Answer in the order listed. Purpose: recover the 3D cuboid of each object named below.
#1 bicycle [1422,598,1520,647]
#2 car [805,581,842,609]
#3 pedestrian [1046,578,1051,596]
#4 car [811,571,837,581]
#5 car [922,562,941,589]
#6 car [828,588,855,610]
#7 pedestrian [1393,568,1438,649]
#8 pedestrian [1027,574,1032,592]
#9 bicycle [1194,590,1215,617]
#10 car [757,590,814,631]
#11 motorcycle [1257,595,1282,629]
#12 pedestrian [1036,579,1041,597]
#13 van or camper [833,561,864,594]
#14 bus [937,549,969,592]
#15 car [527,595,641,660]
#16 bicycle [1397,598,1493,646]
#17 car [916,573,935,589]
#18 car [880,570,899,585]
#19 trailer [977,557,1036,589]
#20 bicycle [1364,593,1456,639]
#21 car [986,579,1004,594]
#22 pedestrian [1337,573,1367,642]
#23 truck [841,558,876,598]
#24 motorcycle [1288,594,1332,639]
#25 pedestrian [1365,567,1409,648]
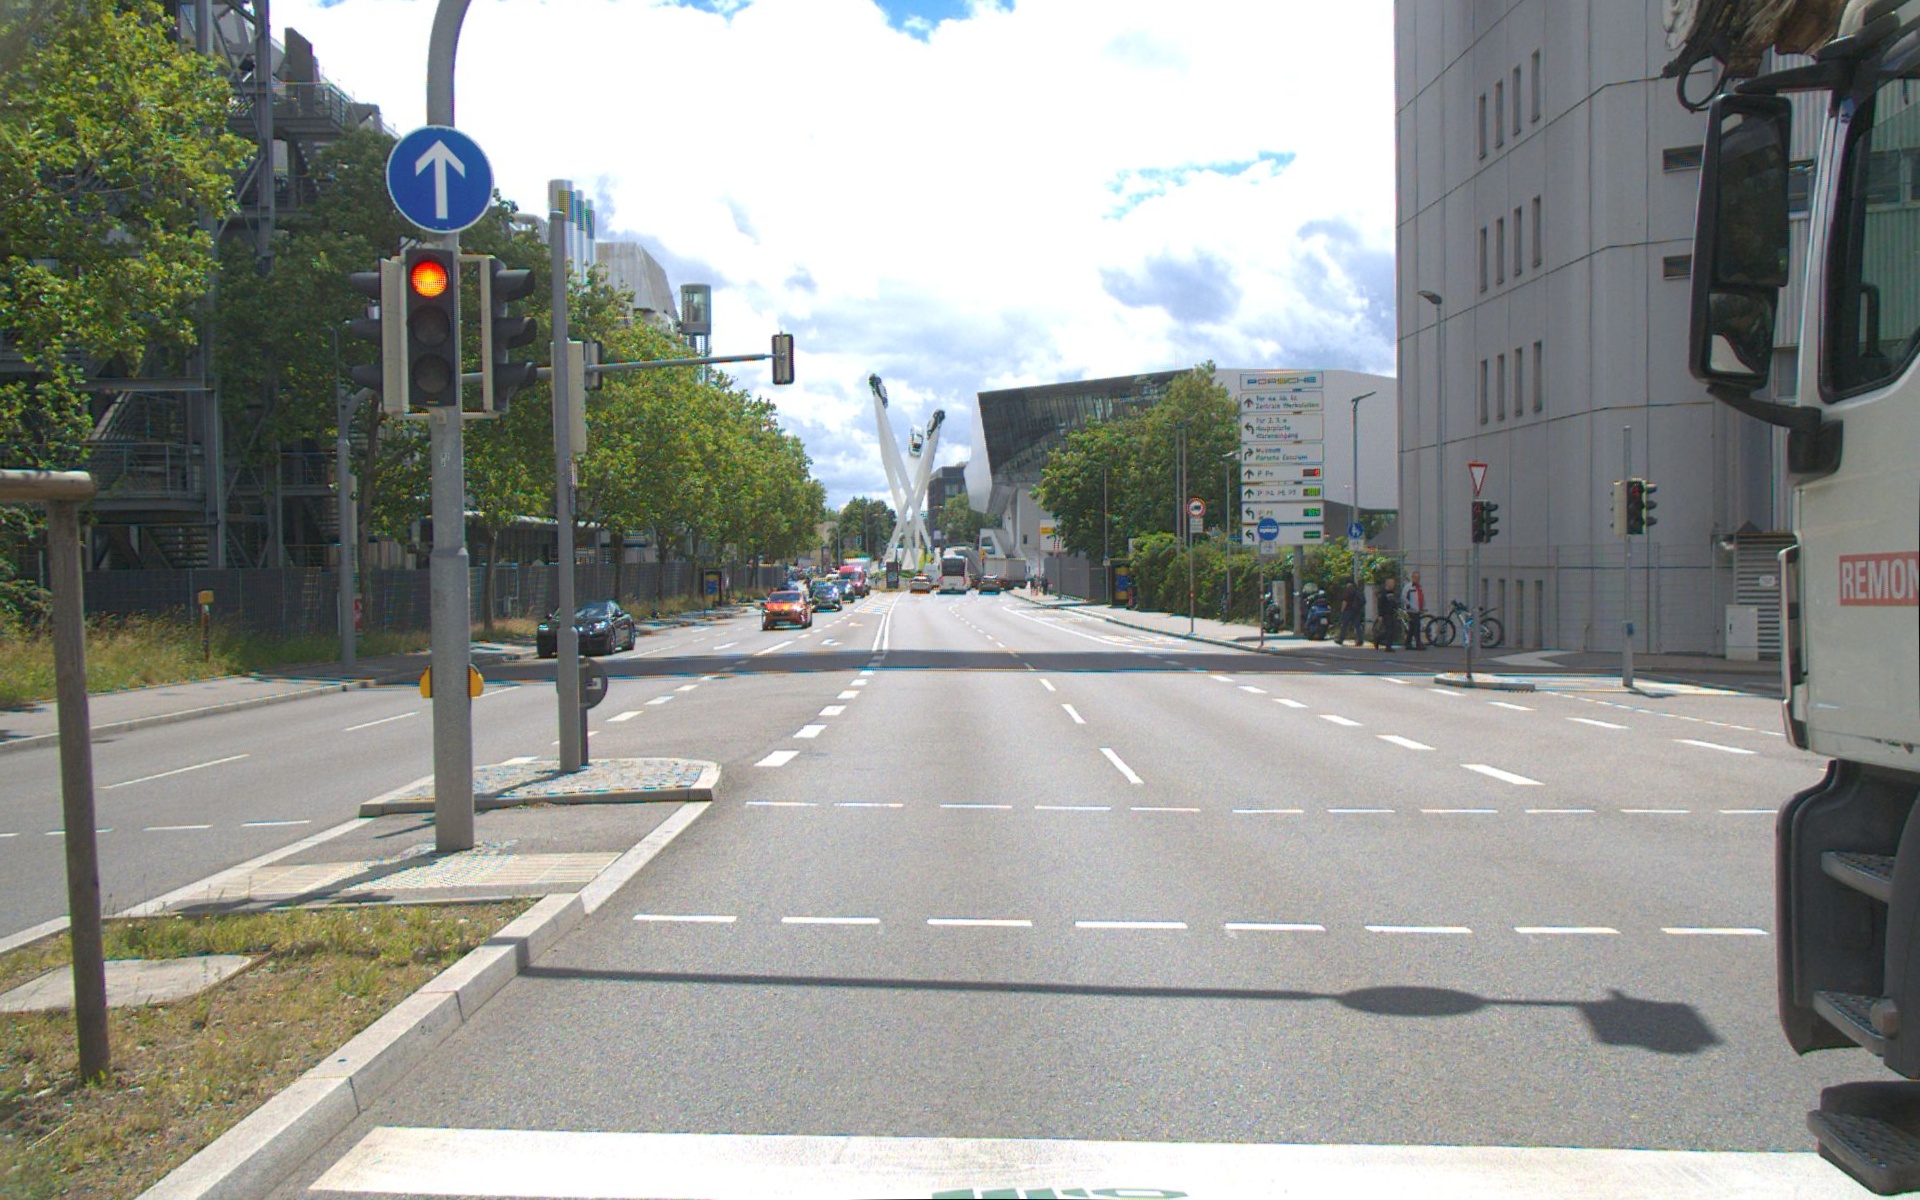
[{"bbox_3d":[11.971,0.527,38.774,2.149,1.105,0.475,1,-1,35],"label":"bicycle"},{"bbox_3d":[-7.592,-0.303,92.232,1.733,1.445,3.701,-2,0,0],"label":"car"},{"bbox_3d":[7.320,-1.043,136.289,0.378,1.446,0.423,1,-1,0],"label":"pedestrian"},{"bbox_3d":[-19.242,-3.342,233.859,1.535,1.295,3.678,-2,1,43],"label":"car"},{"bbox_3d":[-2.957,-2.523,171.125,1.806,2.669,3.999,1,0,-2],"label":"car"},{"bbox_3d":[-8.190,-0.076,114.135,1.525,1.473,3.772,-2,0,0],"label":"car"},{"bbox_3d":[10.591,0.195,38.455,0.680,1.825,0.709,-3,1,-16],"label":"pedestrian"},{"bbox_3d":[5.812,-1.417,137.788,0.378,1.446,0.423,1,-1,0],"label":"pedestrian"},{"bbox_3d":[9.667,0.150,65.405,0.410,1.040,1.910,1,0,-5],"label":"bicycle"},{"bbox_3d":[-6.651,0.391,63.457,1.733,1.445,3.701,-2,0,0],"label":"car"},{"bbox_3d":[9.738,0.366,52.145,0.448,1.040,1.913,1,0,1],"label":"motorcycle"},{"bbox_3d":[6.474,-0.995,136.487,0.378,1.446,0.423,1,-1,0],"label":"pedestrian"},{"bbox_3d":[-8.741,-1.762,129.911,2.005,2.509,5.594,0,0,0],"label":"van or camper"},{"bbox_3d":[-0.611,-2.634,149.810,2.730,3.750,6.942,1,0,0],"label":"bus"},{"bbox_3d":[-9.878,0.688,43.847,1.878,1.514,4.772,-2,0,0],"label":"car"},{"bbox_3d":[11.637,0.525,39.704,2.180,1.105,0.475,1,-1,35],"label":"bicycle"},{"bbox_3d":[-3.117,-1.702,148.713,1.525,1.295,3.701,-2,0,1],"label":"car"},{"bbox_3d":[-6.617,-2.106,155.591,1.525,1.295,3.701,-2,0,0],"label":"car"},{"bbox_3d":[4.940,-2.787,172.235,3.250,3.047,10.380,1,0,18],"label":"trailer"},{"bbox_3d":[11.151,0.382,41.029,2.180,1.105,0.475,1,-1,35],"label":"bicycle"},{"bbox_3d":[3.124,-1.215,146.402,1.525,1.295,3.701,-2,0,1],"label":"car"},{"bbox_3d":[9.709,0.187,40.985,0.523,1.669,0.657,1,-1,-6],"label":"pedestrian"},{"bbox_3d":[-8.878,-1.906,145.143,2.538,3.382,7.078,1,0,0],"label":"truck"},{"bbox_3d":[9.546,0.448,45.158,0.410,1.186,1.951,1,0,-11],"label":"motorcycle"},{"bbox_3d":[9.859,0.170,38.201,0.631,1.825,0.709,-3,1,-16],"label":"pedestrian"}]
